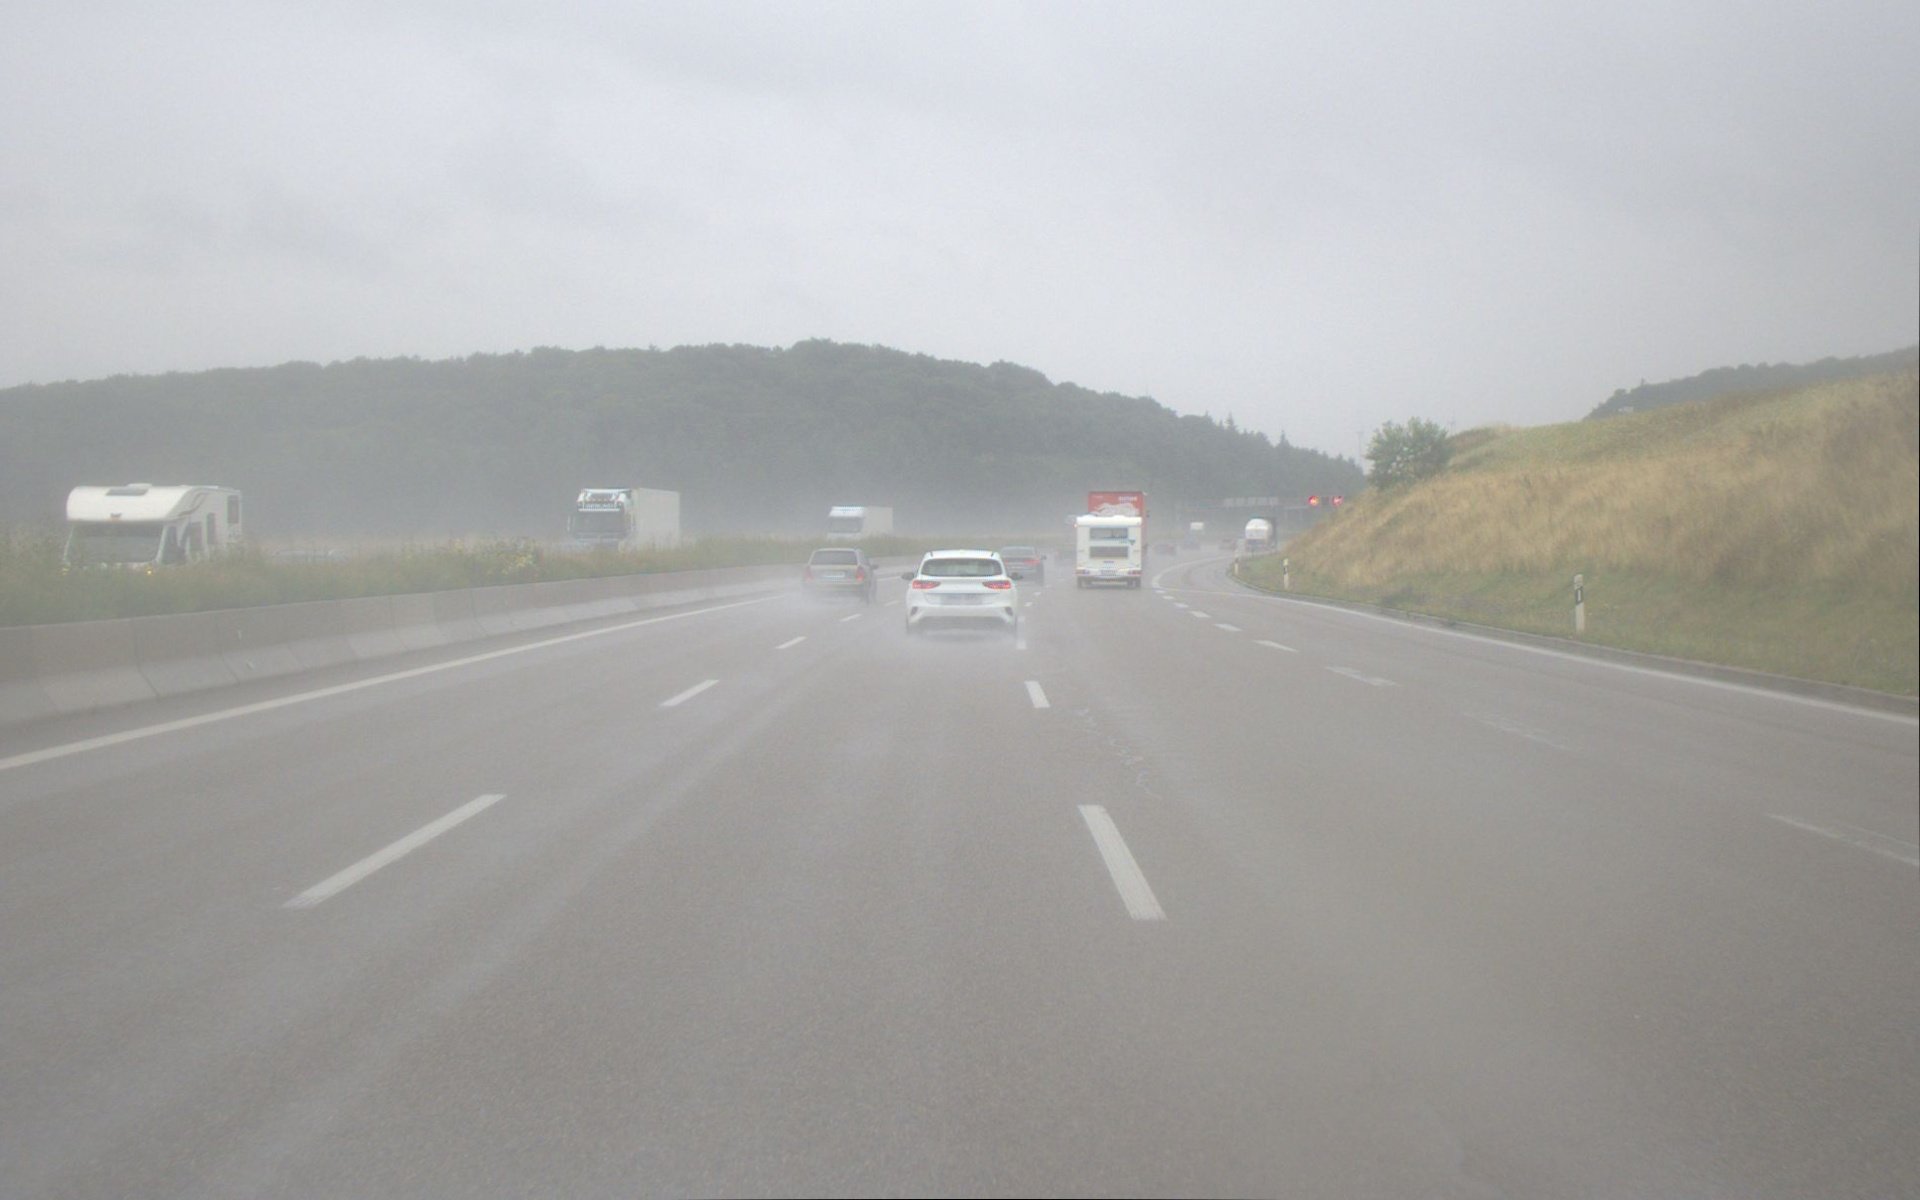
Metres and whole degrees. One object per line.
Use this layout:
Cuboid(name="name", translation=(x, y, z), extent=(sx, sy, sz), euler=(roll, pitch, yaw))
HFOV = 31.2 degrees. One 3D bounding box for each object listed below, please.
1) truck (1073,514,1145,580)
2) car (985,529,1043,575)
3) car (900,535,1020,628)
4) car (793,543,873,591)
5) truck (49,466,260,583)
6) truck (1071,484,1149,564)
Cuboid(name="truck", translation=(5.148, -1.839, 119.320), extent=(2.408, 2.244, 4.693), euler=(0, 1, 1))
Cuboid(name="car", translation=(1.930, -1.750, 124.850), extent=(1.993, 1.612, 4.000), euler=(0, 1, -1))
Cuboid(name="car", translation=(-0.033, -0.298, 56.226), extent=(1.867, 1.458, 4.000), euler=(0, 0, -1))
Cuboid(name="car", translation=(-3.273, -0.835, 88.001), extent=(1.823, 1.152, 4.213), euler=(1, 0, -5))
Cuboid(name="truck", translation=(-16.156, -1.461, 69.422), extent=(2.474, 2.148, 7.425), euler=(1, 0, 0))
Cuboid(name="truck", translation=(7.252, -3.761, 167.744), extent=(3.527, 3.730, 11.426), euler=(1, 2, 1))
